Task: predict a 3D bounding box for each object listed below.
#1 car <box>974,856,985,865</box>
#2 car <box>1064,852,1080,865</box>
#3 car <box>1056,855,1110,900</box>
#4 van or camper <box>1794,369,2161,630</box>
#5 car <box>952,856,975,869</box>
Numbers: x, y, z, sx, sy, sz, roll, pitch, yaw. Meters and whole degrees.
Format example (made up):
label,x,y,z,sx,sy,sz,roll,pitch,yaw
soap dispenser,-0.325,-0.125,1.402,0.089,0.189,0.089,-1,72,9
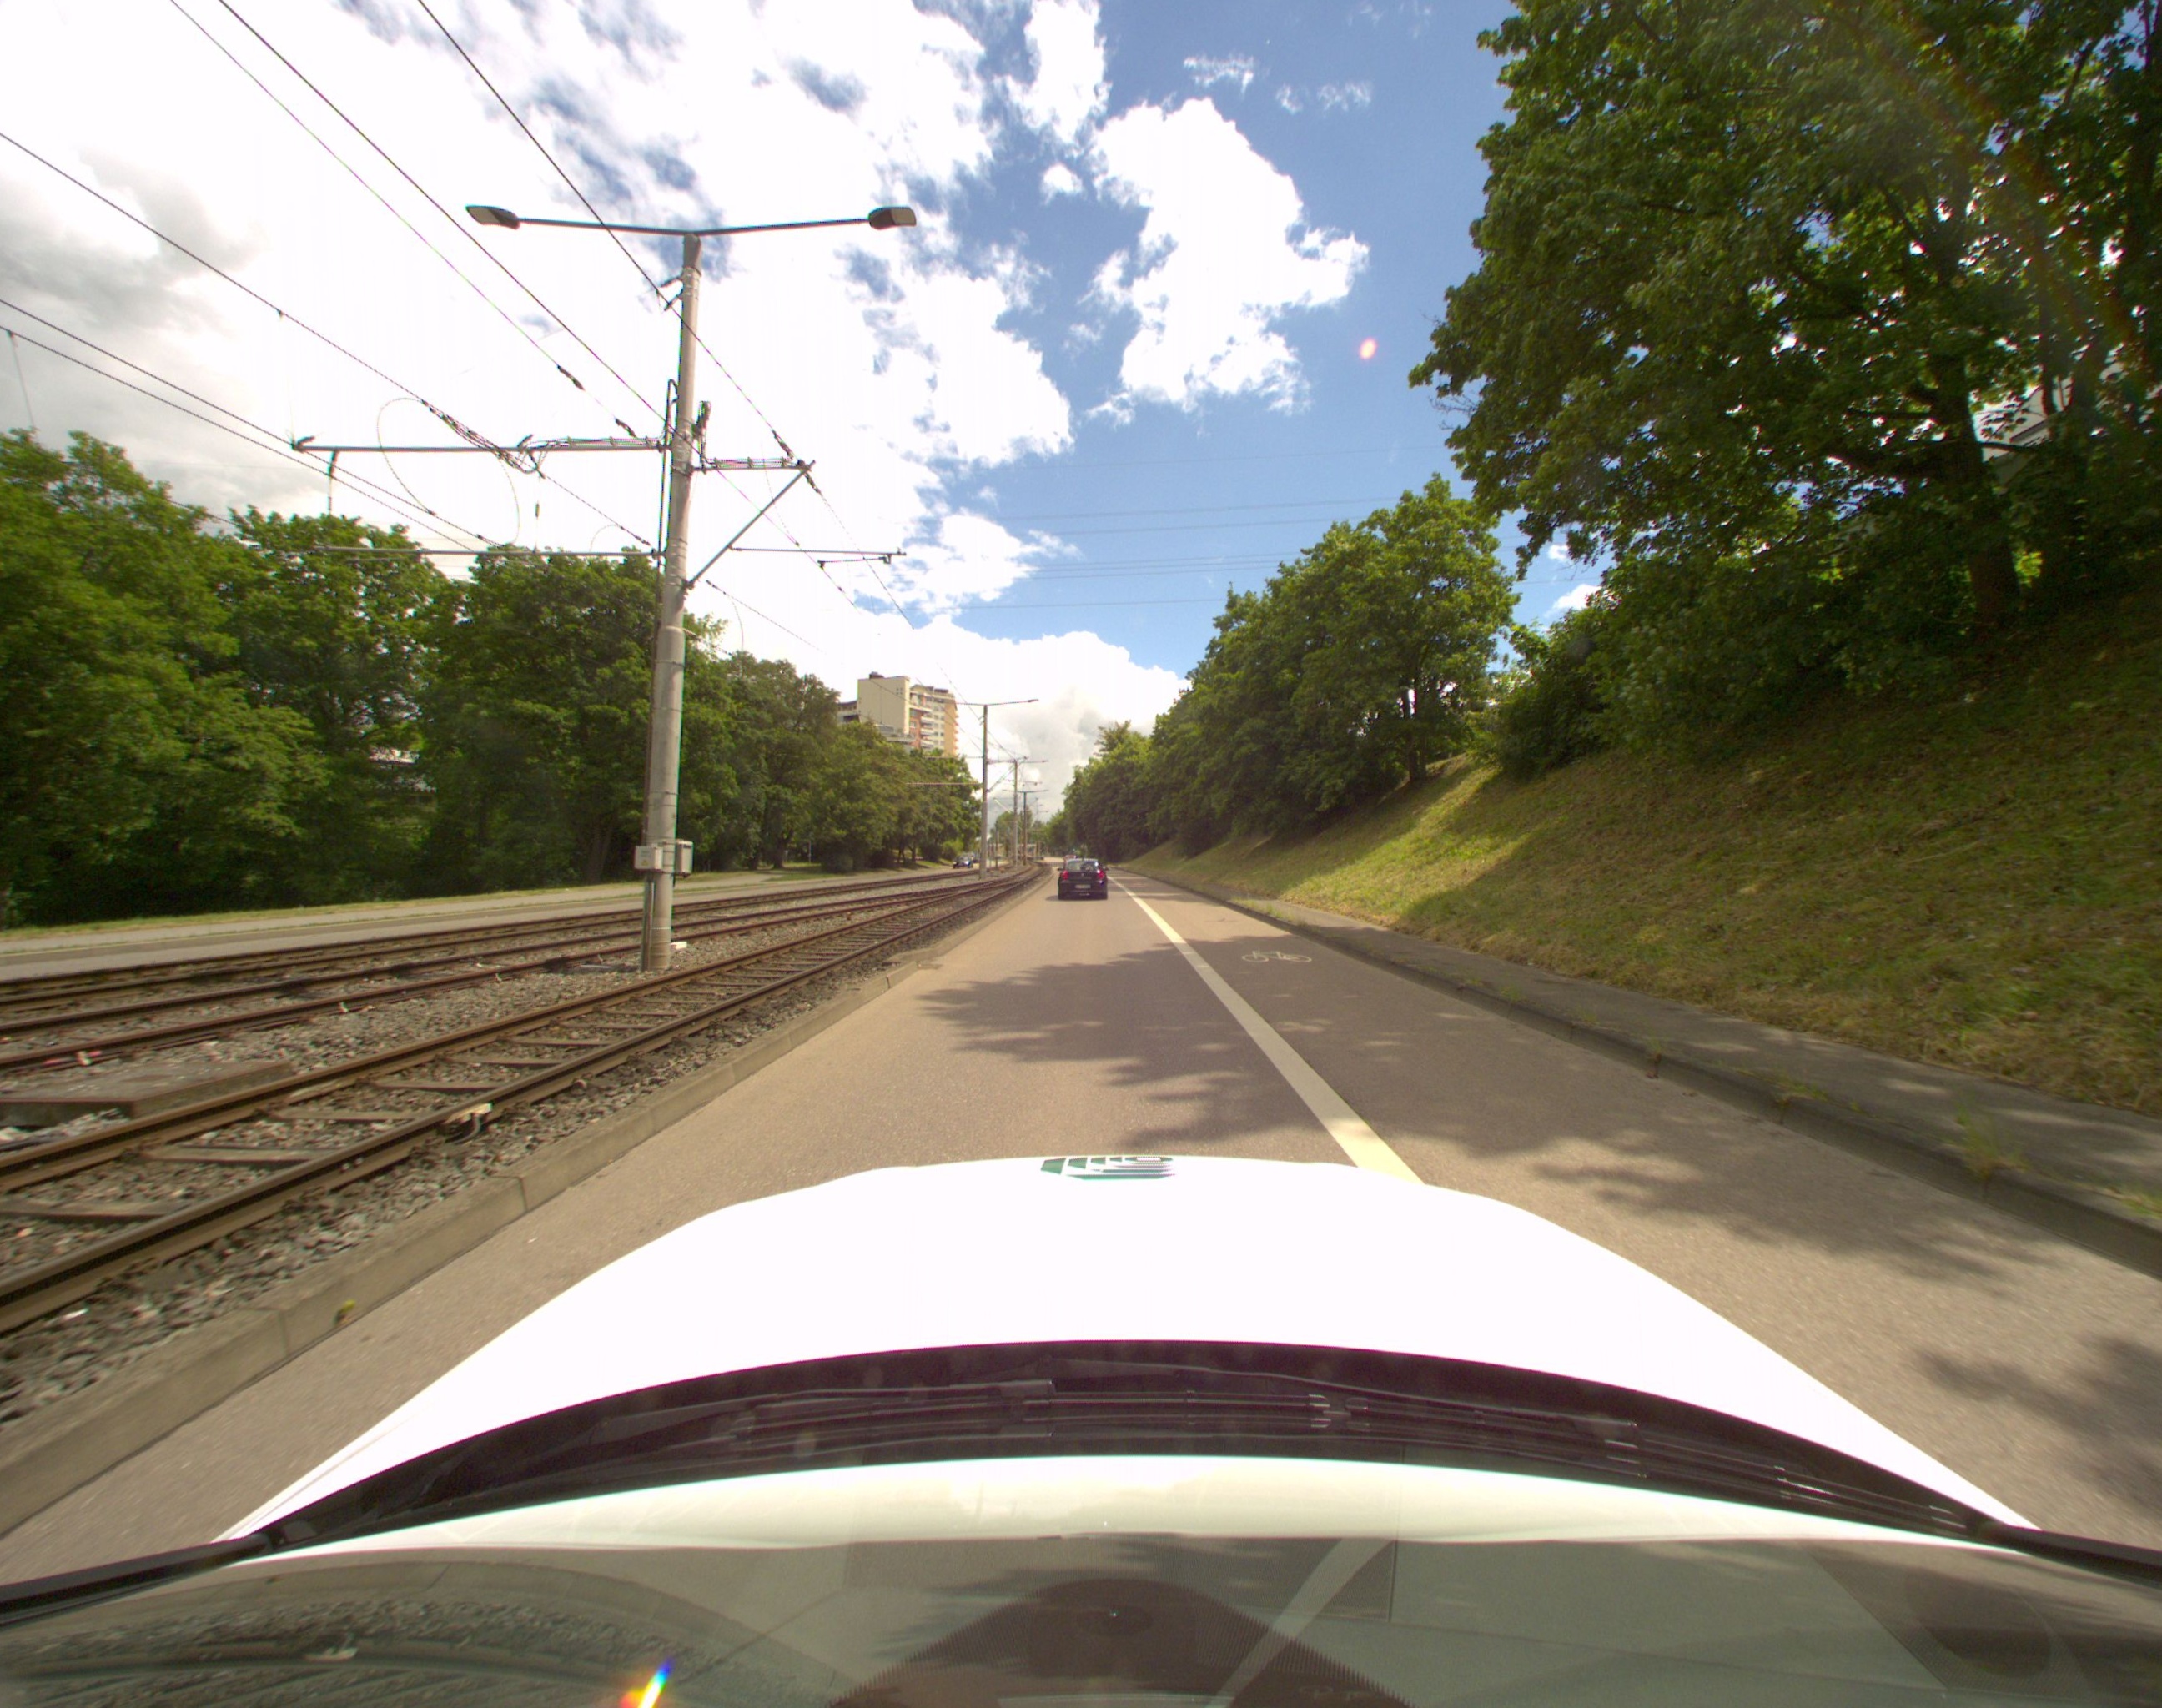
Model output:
label,x,y,z,sx,sy,sz,roll,pitch,yaw
car,-17.532,1.133,141.233,1.772,1.498,3.989,0,0,-5
car,-1.119,0.548,98.824,1.777,1.459,3.917,0,0,-3
car,0.027,0.780,29.250,1.776,1.459,3.919,-1,0,-1
van or camper,16.263,-5.795,14.193,2.210,2.069,6.159,-1,0,-1
car,-13.101,0.911,90.953,1.829,1.391,4.862,-2,0,1
